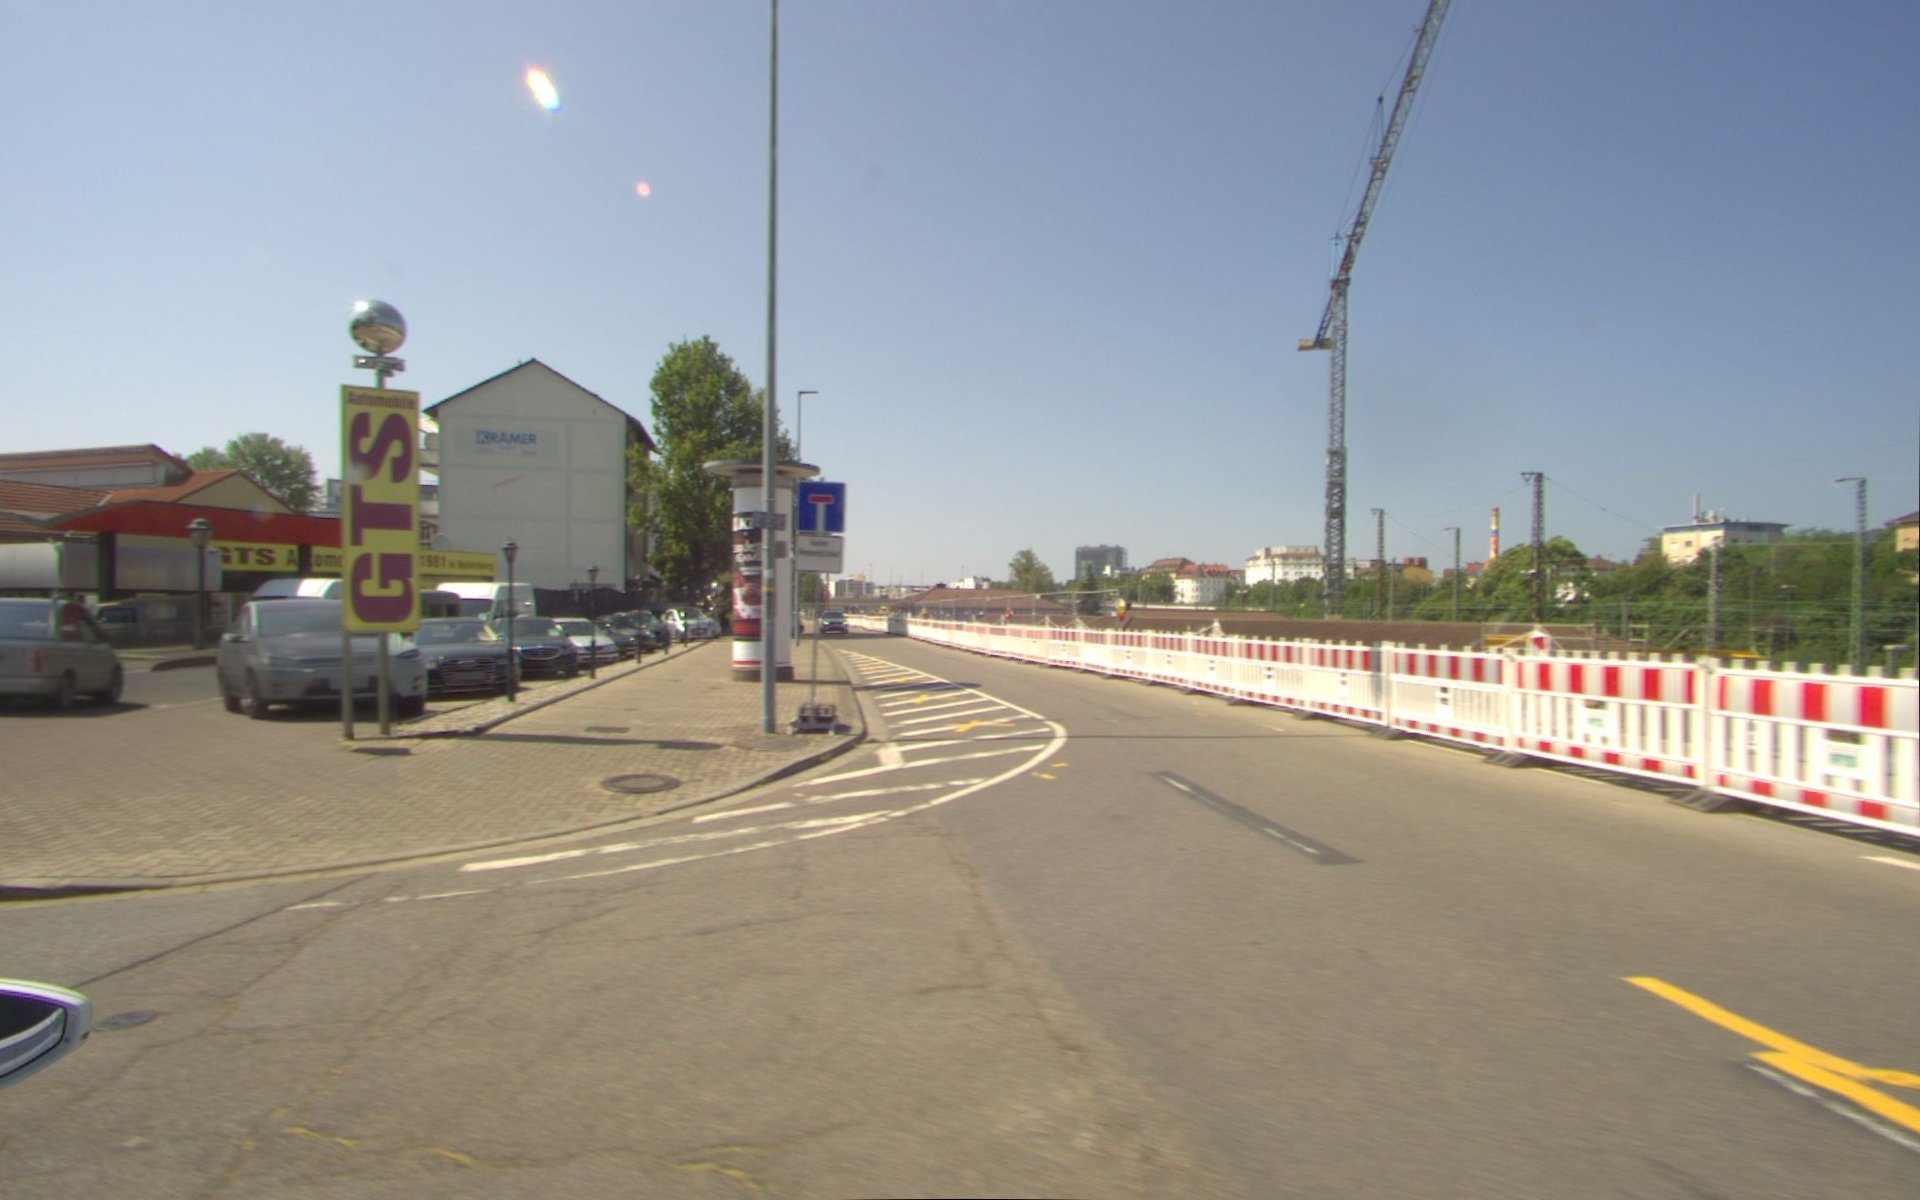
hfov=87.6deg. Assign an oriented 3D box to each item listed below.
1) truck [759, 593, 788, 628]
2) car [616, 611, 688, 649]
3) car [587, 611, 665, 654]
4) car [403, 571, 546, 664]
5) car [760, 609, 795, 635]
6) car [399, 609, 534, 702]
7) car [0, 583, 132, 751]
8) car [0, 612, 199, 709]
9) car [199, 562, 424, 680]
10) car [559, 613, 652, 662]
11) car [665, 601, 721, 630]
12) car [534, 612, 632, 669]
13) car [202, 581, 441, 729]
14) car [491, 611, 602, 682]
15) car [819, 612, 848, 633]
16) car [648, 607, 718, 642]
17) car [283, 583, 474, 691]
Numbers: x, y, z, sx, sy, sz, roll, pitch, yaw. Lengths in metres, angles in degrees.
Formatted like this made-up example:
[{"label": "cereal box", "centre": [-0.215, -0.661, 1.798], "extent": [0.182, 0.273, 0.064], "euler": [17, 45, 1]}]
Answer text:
[{"label": "truck", "centre": [-15.192, 0.902, 81.467], "extent": [2.203, 2.682, 5.678], "euler": [0, -1, -11]}, {"label": "car", "centre": [-13.220, 1.268, 42.905], "extent": [1.652, 1.492, 3.971], "euler": [-2, 0, -37]}, {"label": "car", "centre": [-12.812, 1.228, 38.289], "extent": [1.652, 1.492, 3.971], "euler": [-2, 0, -37]}, {"label": "car", "centre": [-14.791, 0.593, 30.935], "extent": [2.211, 2.460, 5.718], "euler": [4, -2, -8]}, {"label": "car", "centre": [-11.350, 1.348, 62.427], "extent": [1.839, 1.518, 4.029], "euler": [0, 0, -6]}, {"label": "car", "centre": [-9.379, 0.975, 18.862], "extent": [1.816, 1.492, 3.977], "euler": [-2, 0, -32]}, {"label": "car", "centre": [-11.481, 0.776, 11.823], "extent": [2.021, 1.729, 4.292], "euler": [0, -2, -31]}, {"label": "car", "centre": [-16.659, 1.016, 18.207], "extent": [1.877, 1.595, 4.687], "euler": [0, 0, 4]}, {"label": "car", "centre": [-17.026, 0.578, 26.829], "extent": [2.239, 2.793, 6.154], "euler": [0, -1, -2]}, {"label": "car", "centre": [-11.994, 1.238, 33.740], "extent": [1.653, 1.492, 3.967], "euler": [-2, 0, -40]}, {"label": "car", "centre": [-19.519, 1.157, 73.243], "extent": [3.867, 1.984, 1.756], "euler": [2, -1, -17]}, {"label": "car", "centre": [-11.250, 1.177, 29.740], "extent": [1.762, 1.492, 3.974], "euler": [-3, 0, -35]}, {"label": "car", "centre": [-9.086, 0.777, 14.057], "extent": [1.962, 1.728, 4.622], "euler": [-1, -3, -43]}, {"label": "car", "centre": [-10.132, 1.075, 24.368], "extent": [1.816, 1.492, 3.977], "euler": [-2, 0, -32]}, {"label": "car", "centre": [-8.661, 1.546, 68.599], "extent": [1.690, 1.434, 4.075], "euler": [0, -1, -11]}, {"label": "car", "centre": [-12.900, 1.145, 46.519], "extent": [1.760, 1.492, 3.971], "euler": [-2, 0, -37]}, {"label": "car", "centre": [-14.058, 0.892, 24.623], "extent": [2.210, 2.380, 4.825], "euler": [0, -2, -5]}]
